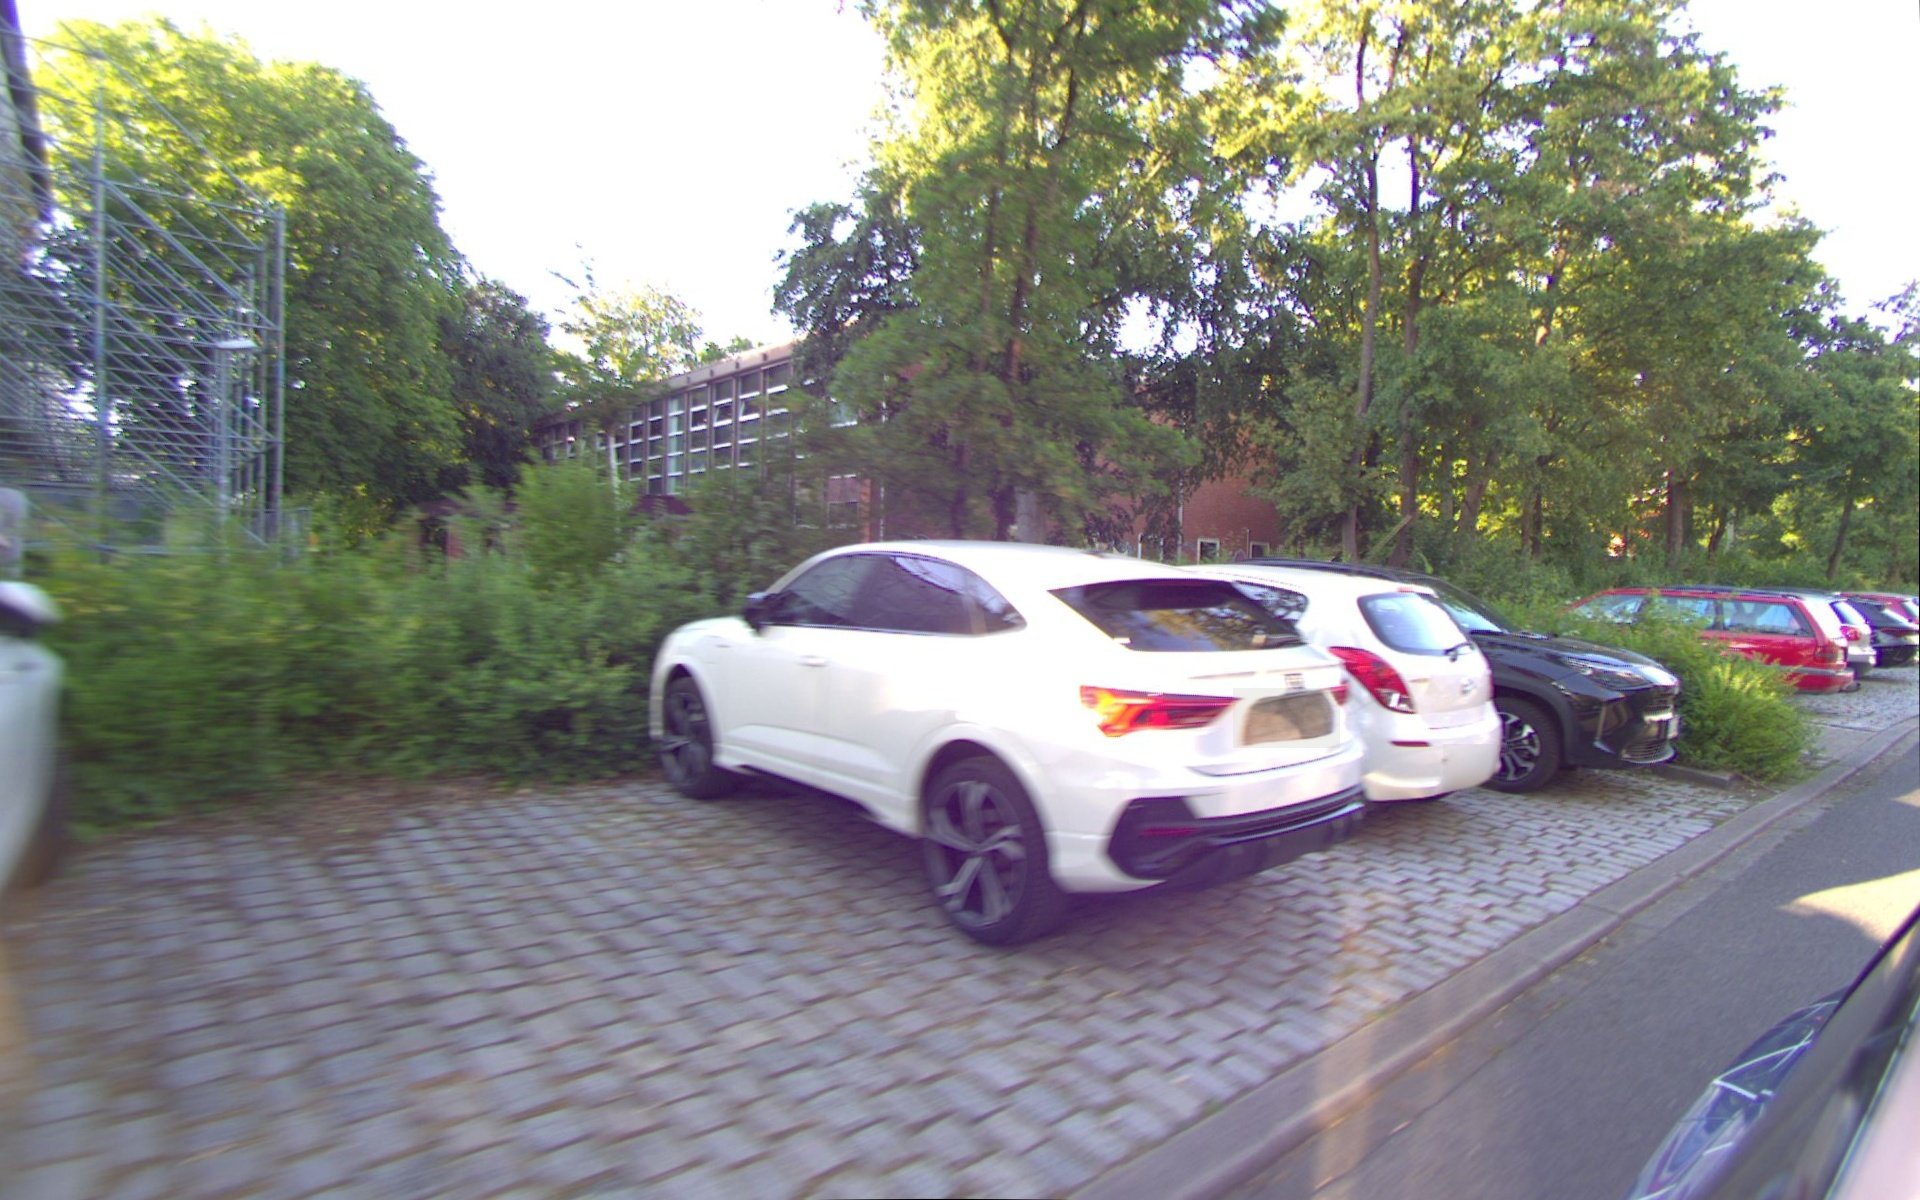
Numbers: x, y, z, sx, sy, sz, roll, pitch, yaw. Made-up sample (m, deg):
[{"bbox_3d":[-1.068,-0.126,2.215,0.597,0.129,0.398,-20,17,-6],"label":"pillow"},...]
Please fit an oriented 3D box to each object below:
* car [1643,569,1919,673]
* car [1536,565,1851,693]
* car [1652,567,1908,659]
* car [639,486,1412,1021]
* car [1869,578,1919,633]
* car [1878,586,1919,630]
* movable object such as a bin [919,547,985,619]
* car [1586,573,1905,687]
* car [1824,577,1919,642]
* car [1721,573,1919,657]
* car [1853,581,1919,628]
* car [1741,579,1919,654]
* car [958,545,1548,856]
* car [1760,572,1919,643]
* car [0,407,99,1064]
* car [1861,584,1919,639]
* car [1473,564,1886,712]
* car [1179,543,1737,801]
[{"bbox_3d":[15.487,0.308,18.917,1.800,1.492,4.129,-1,5,-42],"label":"car"},{"bbox_3d":[11.482,0.347,16.019,1.713,1.574,3.717,-1,5,-44],"label":"car"},{"bbox_3d":[17.104,0.193,21.258,1.799,1.492,3.818,-1,6,-40],"label":"car"},{"bbox_3d":[-0.056,0.427,5.332,1.692,1.688,4.131,0,2,-40],"label":"car"},{"bbox_3d":[29.603,0.268,30.053,1.643,1.543,3.618,0,5,-42],"label":"car"},{"bbox_3d":[35.715,0.330,36.512,1.642,1.559,3.635,0,2,-40],"label":"car"},{"bbox_3d":[-0.170,-0.360,21.278,0.966,1.456,0.964,0,2,-38],"label":"movable object such as a bin"},{"bbox_3d":[13.251,0.402,17.277,1.799,1.471,3.936,0,5,-39],"label":"car"},{"bbox_3d":[25.676,0.313,27.038,1.705,1.571,3.674,0,5,-42],"label":"car"},{"bbox_3d":[19.515,0.296,22.465,1.725,1.492,3.818,0,5,-40],"label":"car"},{"bbox_3d":[33.546,0.186,35.266,1.642,1.544,3.393,0,3,-40],"label":"car"},{"bbox_3d":[21.304,0.358,24.230,1.725,1.411,3.760,-1,6,-40],"label":"car"},{"bbox_3d":[1.836,0.459,7.115,1.787,1.586,3.595,0,2,-41],"label":"car"},{"bbox_3d":[23.180,0.160,26.013,1.788,1.516,3.736,-1,6,-40],"label":"car"},{"bbox_3d":[-3.467,0.354,2.403,1.832,1.731,4.184,0,1,-36],"label":"car"},{"bbox_3d":[27.965,0.430,28.463,1.705,1.462,3.674,0,5,-42],"label":"car"},{"bbox_3d":[9.806,0.397,14.104,1.711,1.493,4.348,1,4,-41],"label":"car"},{"bbox_3d":[3.846,0.397,8.291,1.668,1.614,3.750,0,2,-42],"label":"car"}]
